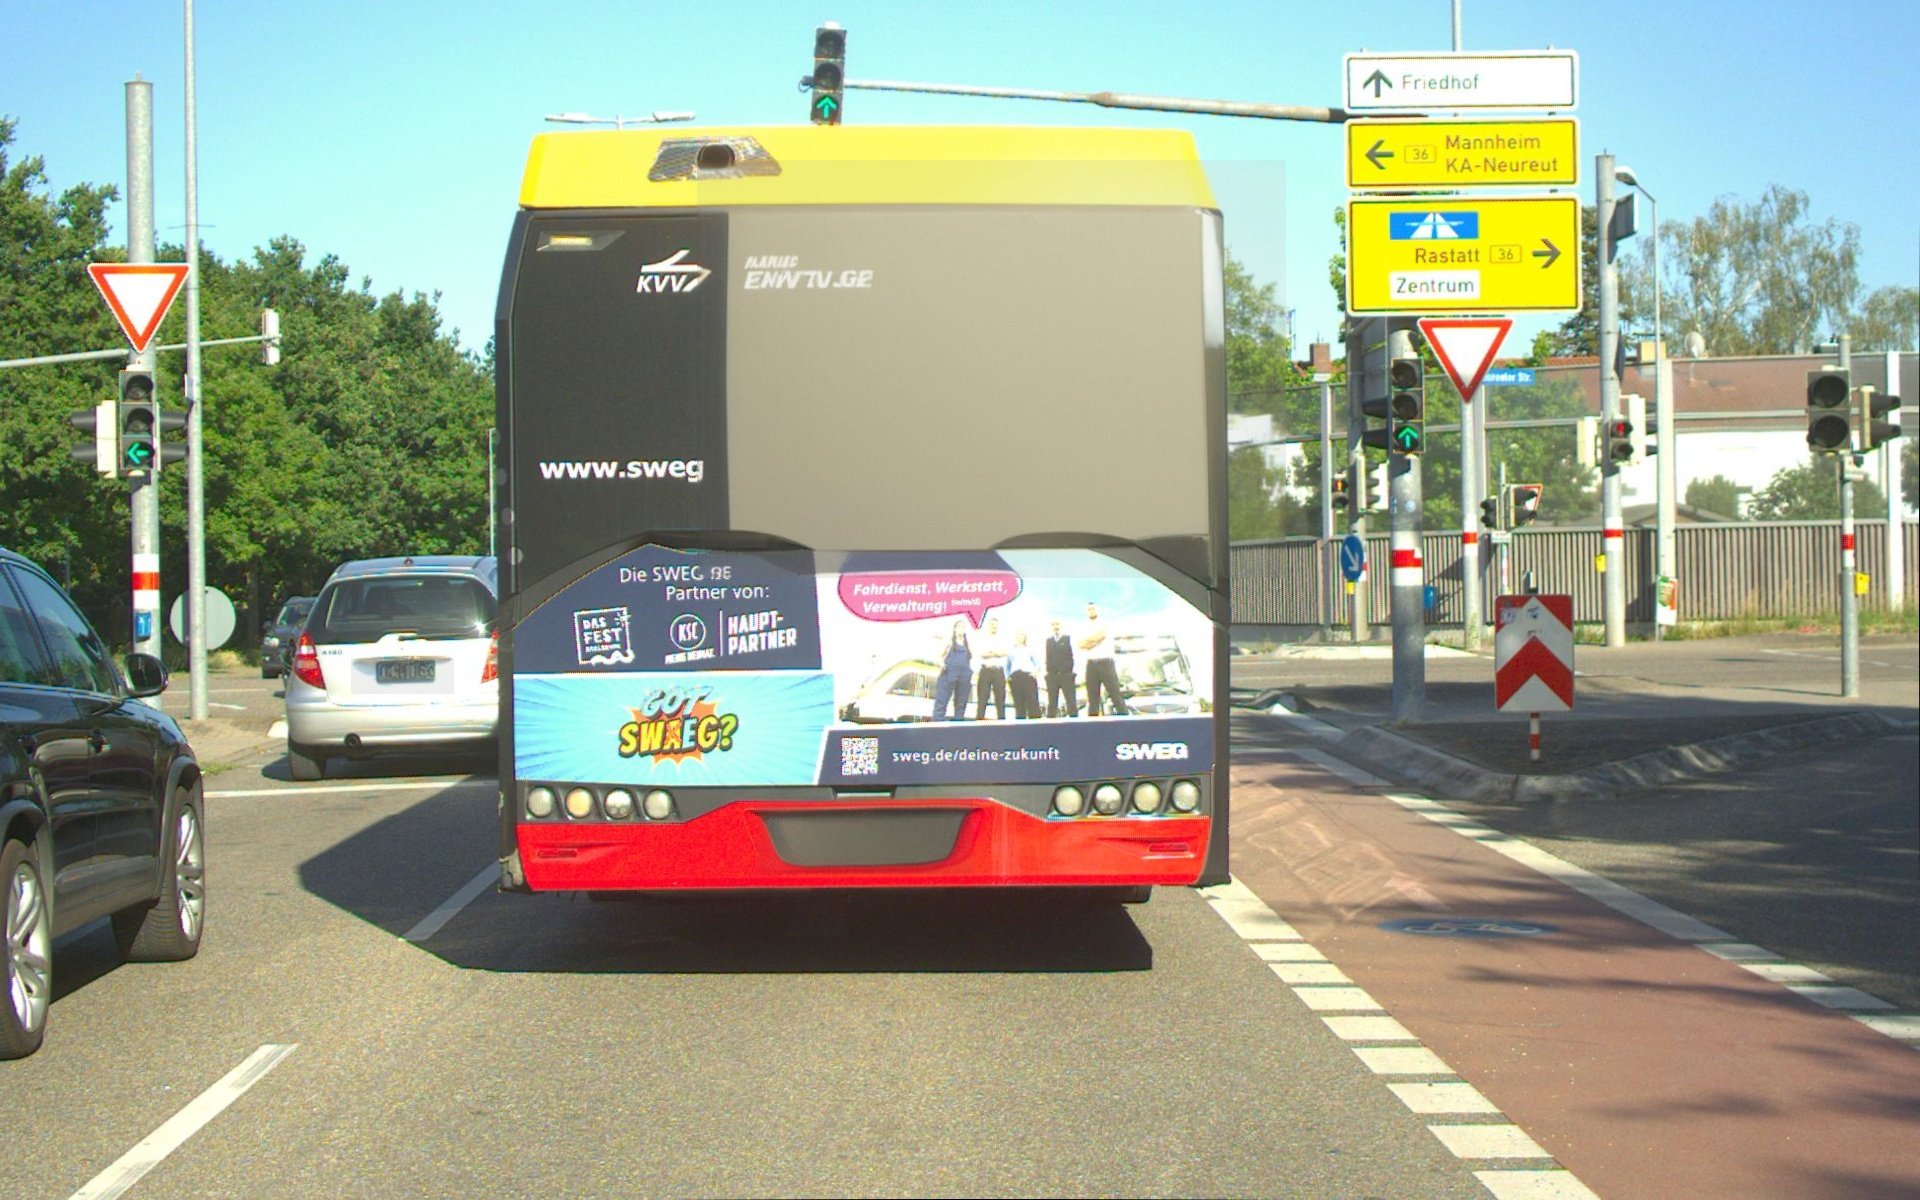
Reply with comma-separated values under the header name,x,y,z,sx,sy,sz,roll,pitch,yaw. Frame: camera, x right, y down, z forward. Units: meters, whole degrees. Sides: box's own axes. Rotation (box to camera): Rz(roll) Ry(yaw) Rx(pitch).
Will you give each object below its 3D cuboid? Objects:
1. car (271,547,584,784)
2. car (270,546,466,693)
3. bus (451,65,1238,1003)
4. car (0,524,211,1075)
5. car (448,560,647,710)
name,x,y,z,sx,sy,sz,roll,pitch,yaw
car,-3.917,0.432,25.881,1.761,1.584,4.000,-2,1,-1
car,-6.841,0.207,39.502,1.701,1.552,3.741,-2,1,-17
bus,-0.414,-0.317,17.552,2.642,3.156,11.861,0,1,0
car,-3.830,0.614,11.657,1.772,1.648,4.000,-2,1,-2
car,-4.341,0.332,36.608,1.692,1.453,3.751,-2,1,-1
